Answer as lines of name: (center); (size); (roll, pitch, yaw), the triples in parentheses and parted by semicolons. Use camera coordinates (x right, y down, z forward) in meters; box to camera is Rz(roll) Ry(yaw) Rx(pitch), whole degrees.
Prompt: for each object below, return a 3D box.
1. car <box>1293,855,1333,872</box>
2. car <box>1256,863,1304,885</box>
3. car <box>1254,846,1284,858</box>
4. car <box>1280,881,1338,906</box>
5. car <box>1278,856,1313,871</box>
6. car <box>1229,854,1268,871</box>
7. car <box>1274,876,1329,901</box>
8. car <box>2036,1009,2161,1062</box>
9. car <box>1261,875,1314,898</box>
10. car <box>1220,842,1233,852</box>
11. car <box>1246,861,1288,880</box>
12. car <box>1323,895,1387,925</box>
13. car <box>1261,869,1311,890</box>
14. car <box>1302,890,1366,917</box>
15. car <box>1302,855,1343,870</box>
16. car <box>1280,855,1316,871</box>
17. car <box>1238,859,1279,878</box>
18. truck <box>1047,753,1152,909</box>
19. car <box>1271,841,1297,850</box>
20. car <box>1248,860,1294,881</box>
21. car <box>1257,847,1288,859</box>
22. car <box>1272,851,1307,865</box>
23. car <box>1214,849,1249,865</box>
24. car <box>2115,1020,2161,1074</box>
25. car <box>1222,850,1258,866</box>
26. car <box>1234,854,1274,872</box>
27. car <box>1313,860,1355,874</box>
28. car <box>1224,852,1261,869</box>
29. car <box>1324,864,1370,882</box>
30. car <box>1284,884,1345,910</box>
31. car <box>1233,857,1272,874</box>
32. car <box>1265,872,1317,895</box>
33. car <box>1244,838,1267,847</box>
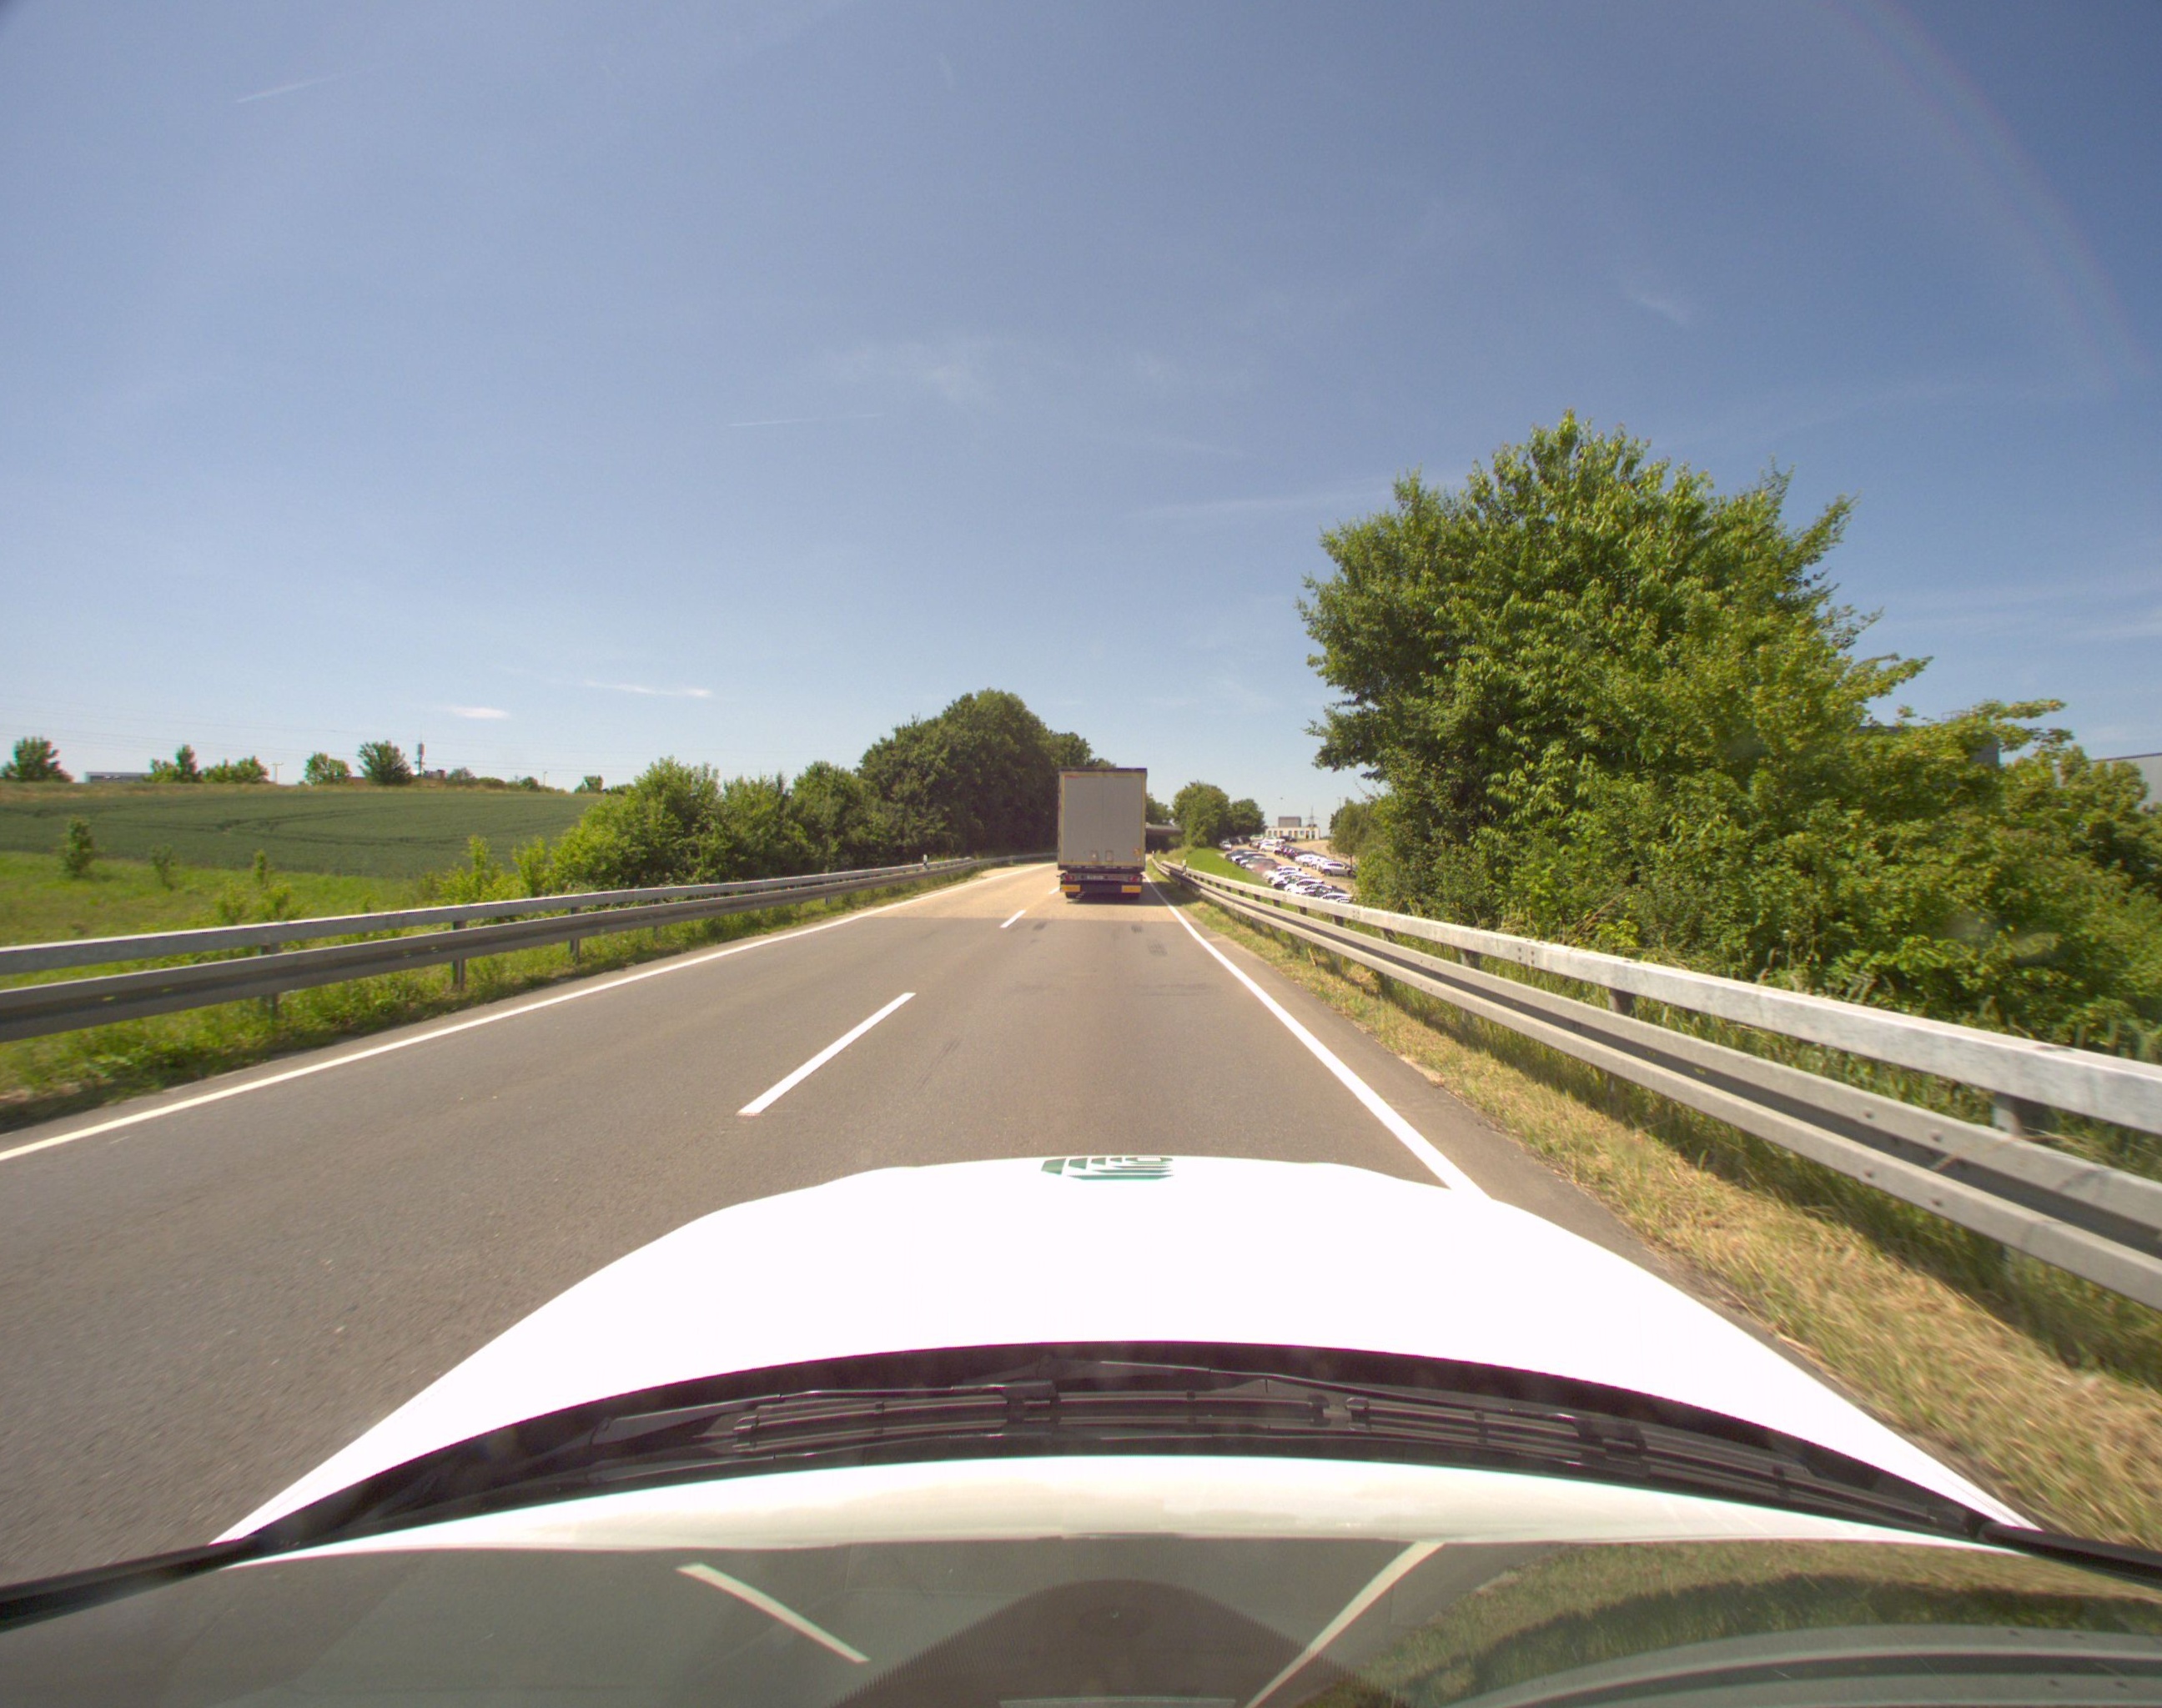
car: (30.368, 1.202, 106.654); (4.531, 1.628, 1.832); (8, 3, 30)
car: (20.645, 2.030, 84.567); (4.407, 1.685, 1.899); (7, 3, 26)
car: (31.460, -0.344, 136.107); (4.532, 1.628, 1.831); (5, 2, 25)
car: (19.451, 3.325, 69.492); (4.324, 1.455, 1.830); (8, 3, 28)
car: (31.702, 1.343, 120.285); (4.531, 1.628, 1.832); (8, 3, 30)
car: (21.303, 1.034, 103.647); (4.383, 1.685, 1.874); (5, 3, -25)
car: (19.628, 3.049, 72.549); (4.324, 1.558, 1.873); (8, 3, 28)
car: (40.090, 6.954, 31.300); (4.555, 1.572, 1.821); (0, 3, 1)
car: (19.198, 2.979, 75.722); (4.324, 1.558, 1.899); (8, 3, 28)
car: (24.747, -1.254, 138.577); (1.619, 1.353, 3.712); (6, 3, 0)
car: (20.769, 1.801, 90.824); (4.392, 1.685, 1.870); (4, 3, -33)
car: (20.126, 4.084, 59.901); (4.076, 1.517, 1.689); (8, 3, 27)
car: (20.428, 2.527, 81.169); (4.323, 1.558, 1.900); (8, 3, 33)
car: (19.623, 3.832, 63.225); (4.324, 1.394, 1.830); (8, 3, 31)
car: (30.486, 1.005, 102.866); (4.528, 1.519, 1.833); (3, 5, 34)
car: (31.279, 1.296, 117.321); (4.531, 1.628, 1.832); (8, 3, 30)
car: (20.374, 1.663, 93.470); (4.392, 1.685, 1.870); (4, 3, -33)
truck: (0.705, -0.706, 28.219); (2.855, 4.359, 9.794); (2, 1, 2)
car: (40.057, -1.652, 160.972); (4.529, 1.628, 1.832); (4, 1, 38)
car: (20.551, 1.780, 88.091); (4.374, 1.685, 1.878); (5, 3, -18)
car: (31.332, -0.202, 133.494); (4.531, 1.628, 1.831); (5, 2, 25)
car: (31.577, 0.591, 123.356); (4.531, 1.628, 1.832); (8, 3, 30)
car: (20.896, 0.379, 112.888); (4.383, 1.685, 1.874); (5, 3, -25)
car: (39.627, 6.855, 28.628); (4.023, 1.572, 1.913); (0, 3, 1)
car: (21.526, 0.529, 110.134); (4.383, 1.685, 1.874); (5, 3, -25)
car: (21.330, 1.110, 100.379); (4.383, 1.685, 1.874); (5, 3, -25)
car: (30.972, 1.574, 99.631); (4.528, 1.477, 1.832); (0, 4, 29)
car: (21.188, 0.886, 106.867); (4.383, 1.685, 1.874); (5, 3, -25)
car: (29.675, 2.081, 90.916); (4.529, 1.628, 1.832); (3, 4, 29)
car: (19.161, 3.476, 66.808); (4.324, 1.455, 1.830); (8, 3, 31)
car: (20.460, 1.392, 97.041); (4.392, 1.685, 1.870); (4, 3, -33)
car: (19.980, 2.748, 77.588); (4.324, 1.558, 1.899); (8, 3, 28)
car: (37.642, -2.450, 175.529); (4.383, 1.685, 1.874); (1, 5, -24)
